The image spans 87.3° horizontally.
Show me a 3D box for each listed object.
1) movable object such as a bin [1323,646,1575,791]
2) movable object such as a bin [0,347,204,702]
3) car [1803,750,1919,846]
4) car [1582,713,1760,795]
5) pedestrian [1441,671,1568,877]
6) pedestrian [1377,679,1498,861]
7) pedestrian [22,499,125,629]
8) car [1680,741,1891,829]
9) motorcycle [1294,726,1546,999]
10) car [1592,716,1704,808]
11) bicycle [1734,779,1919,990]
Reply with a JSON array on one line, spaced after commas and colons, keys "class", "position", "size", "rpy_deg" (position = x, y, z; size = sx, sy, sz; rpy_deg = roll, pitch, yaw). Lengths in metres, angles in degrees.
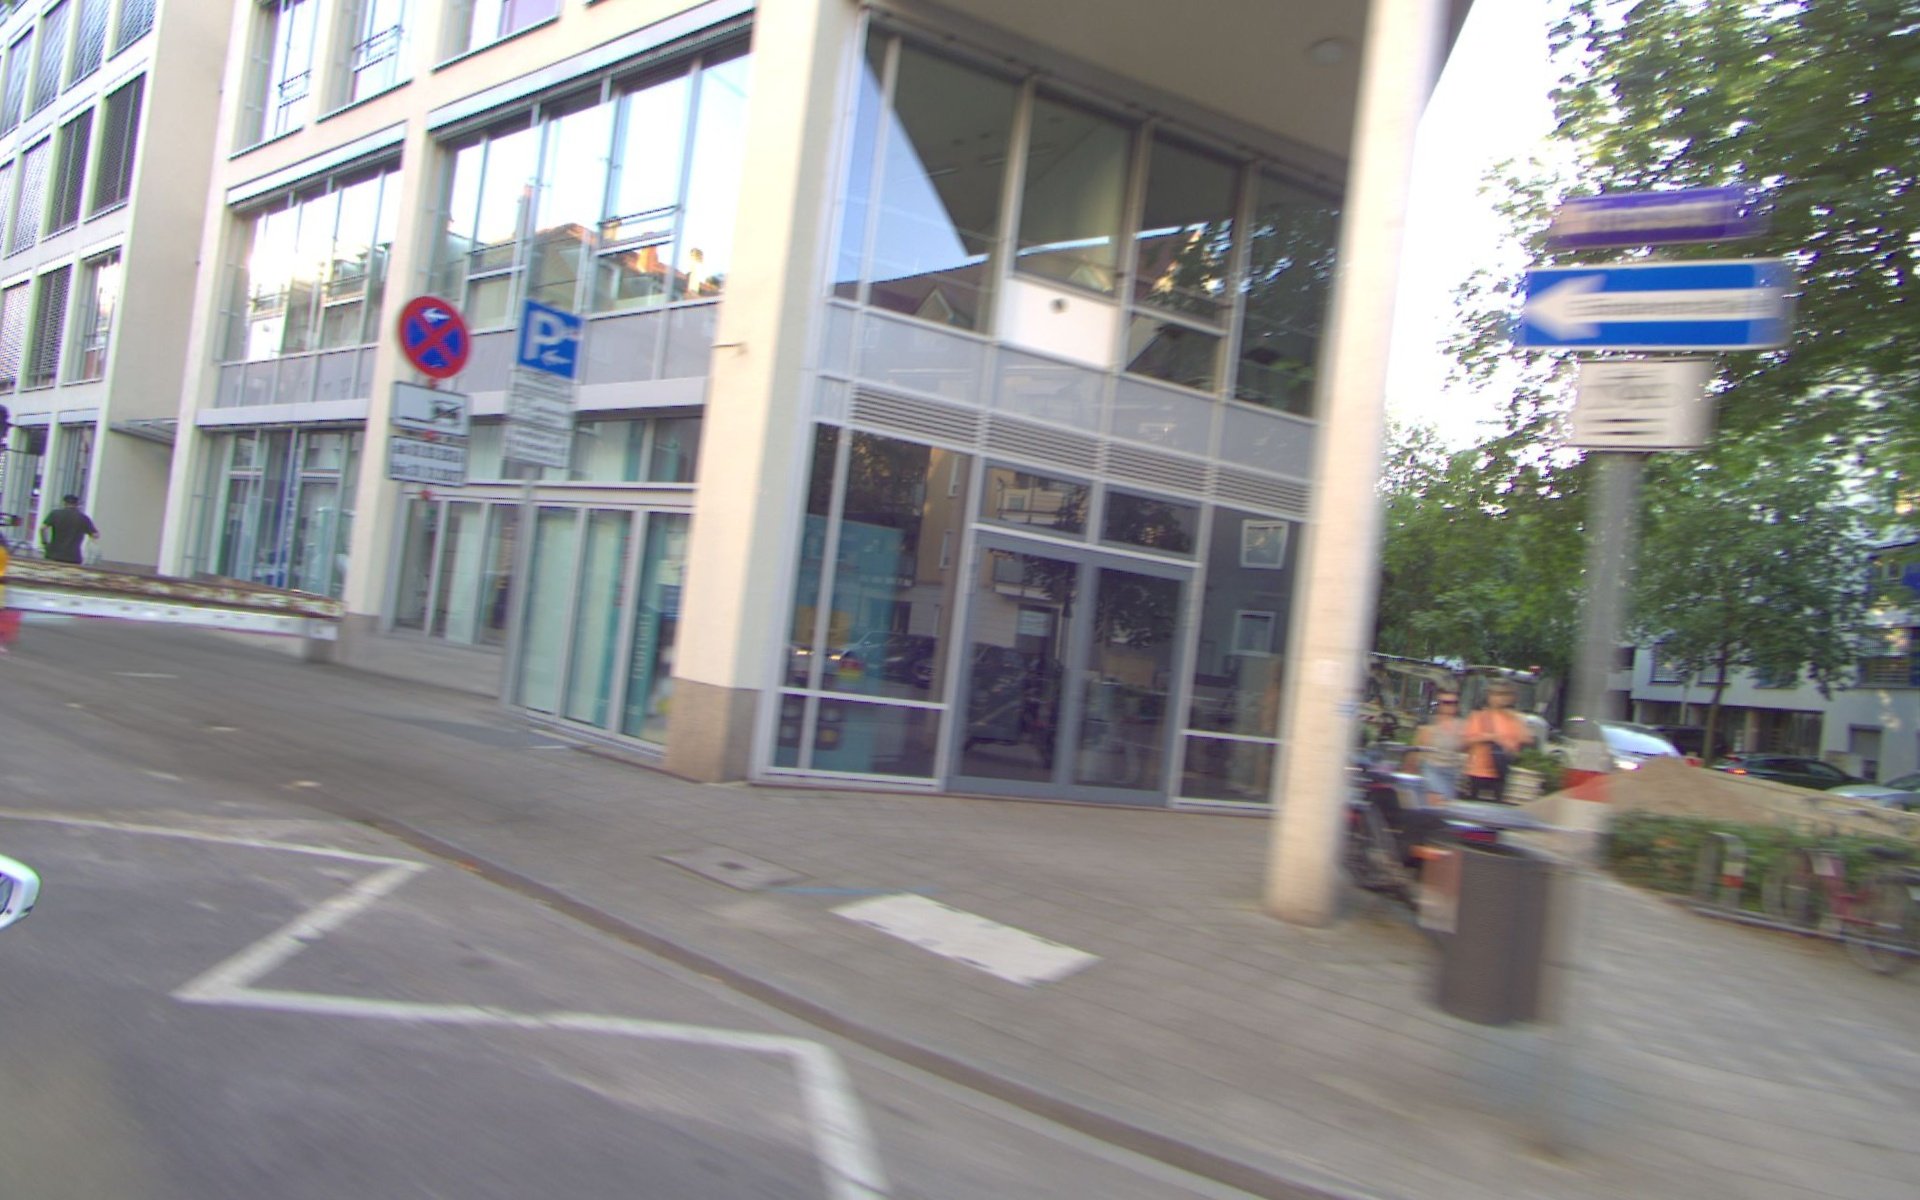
[{"class": "movable object such as a bin", "position": [10.389, 2.452, 21.784], "size": [3.982, 2.411, 2.787], "rpy_deg": [7, -1, 7]}, {"class": "movable object such as a bin", "position": [-9.734, -0.809, 9.437], "size": [5.558, 2.724, 2.280], "rpy_deg": [6, -2, 34]}, {"class": "car", "position": [22.449, 4.747, 23.263], "size": [3.924, 1.825, 2.002], "rpy_deg": [7, -2, 16]}, {"class": "car", "position": [25.665, 5.518, 36.479], "size": [4.664, 2.037, 2.003], "rpy_deg": [8, -1, 12]}, {"class": "pedestrian", "position": [4.950, 1.552, 9.192], "size": [0.727, 1.710, 0.607], "rpy_deg": [7, -1, 14]}, {"class": "pedestrian", "position": [4.505, 1.579, 9.545], "size": [0.757, 1.553, 0.643], "rpy_deg": [7, -1, 12]}, {"class": "pedestrian", "position": [-13.781, -0.554, 15.639], "size": [0.863, 1.872, 0.887], "rpy_deg": [6, -1, 38]}, {"class": "car", "position": [22.740, 5.061, 27.885], "size": [3.924, 1.603, 2.003], "rpy_deg": [7, -2, 14]}, {"class": "motorcycle", "position": [2.817, 1.532, 6.480], "size": [0.547, 1.185, 2.310], "rpy_deg": [7, -2, 3]}, {"class": "car", "position": [16.665, 3.843, 24.480], "size": [1.925, 1.733, 4.693], "rpy_deg": [6, -3, 34]}, {"class": "bicycle", "position": [6.854, 2.105, 7.649], "size": [0.672, 1.166, 1.983], "rpy_deg": [7, -2, 13]}]
